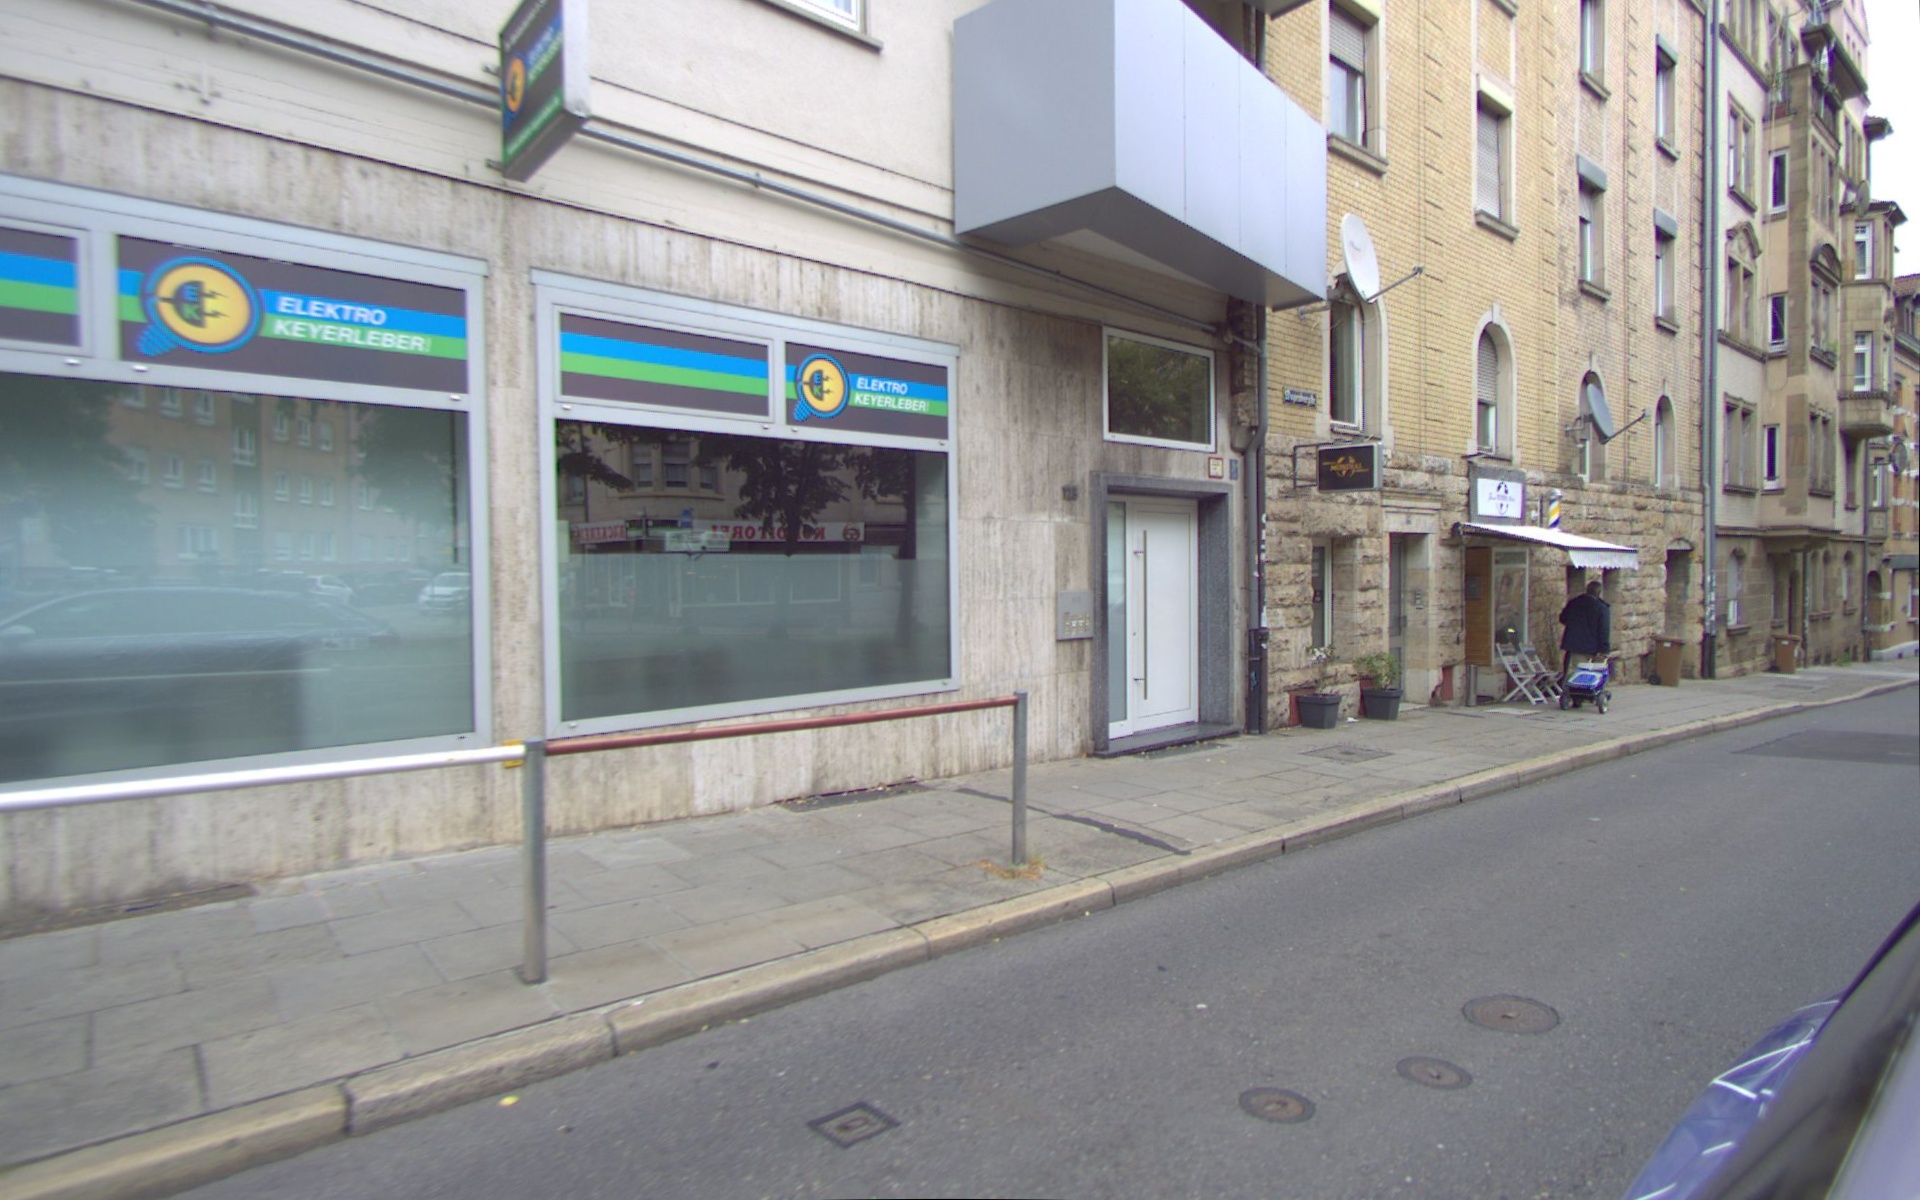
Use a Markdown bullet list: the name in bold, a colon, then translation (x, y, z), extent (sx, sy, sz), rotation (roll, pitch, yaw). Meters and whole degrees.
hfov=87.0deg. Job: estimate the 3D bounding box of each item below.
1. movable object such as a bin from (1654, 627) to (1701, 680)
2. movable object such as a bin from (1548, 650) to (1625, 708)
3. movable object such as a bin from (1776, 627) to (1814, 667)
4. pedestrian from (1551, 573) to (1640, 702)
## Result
- **movable object such as a bin**: translation (13.341, 0.986, 18.820), extent (0.494, 0.915, 0.595), rotation (-4, 2, -38)
- **movable object such as a bin**: translation (8.327, 1.035, 13.455), extent (0.843, 0.677, 0.609), rotation (1, 2, -39)
- **movable object such as a bin**: translation (19.884, 1.104, 24.103), extent (0.552, 0.915, 0.595), rotation (1, -1, -38)
- **pedestrian**: translation (8.879, 0.504, 14.145), extent (0.843, 1.714, 0.753), rotation (1, 1, -39)
